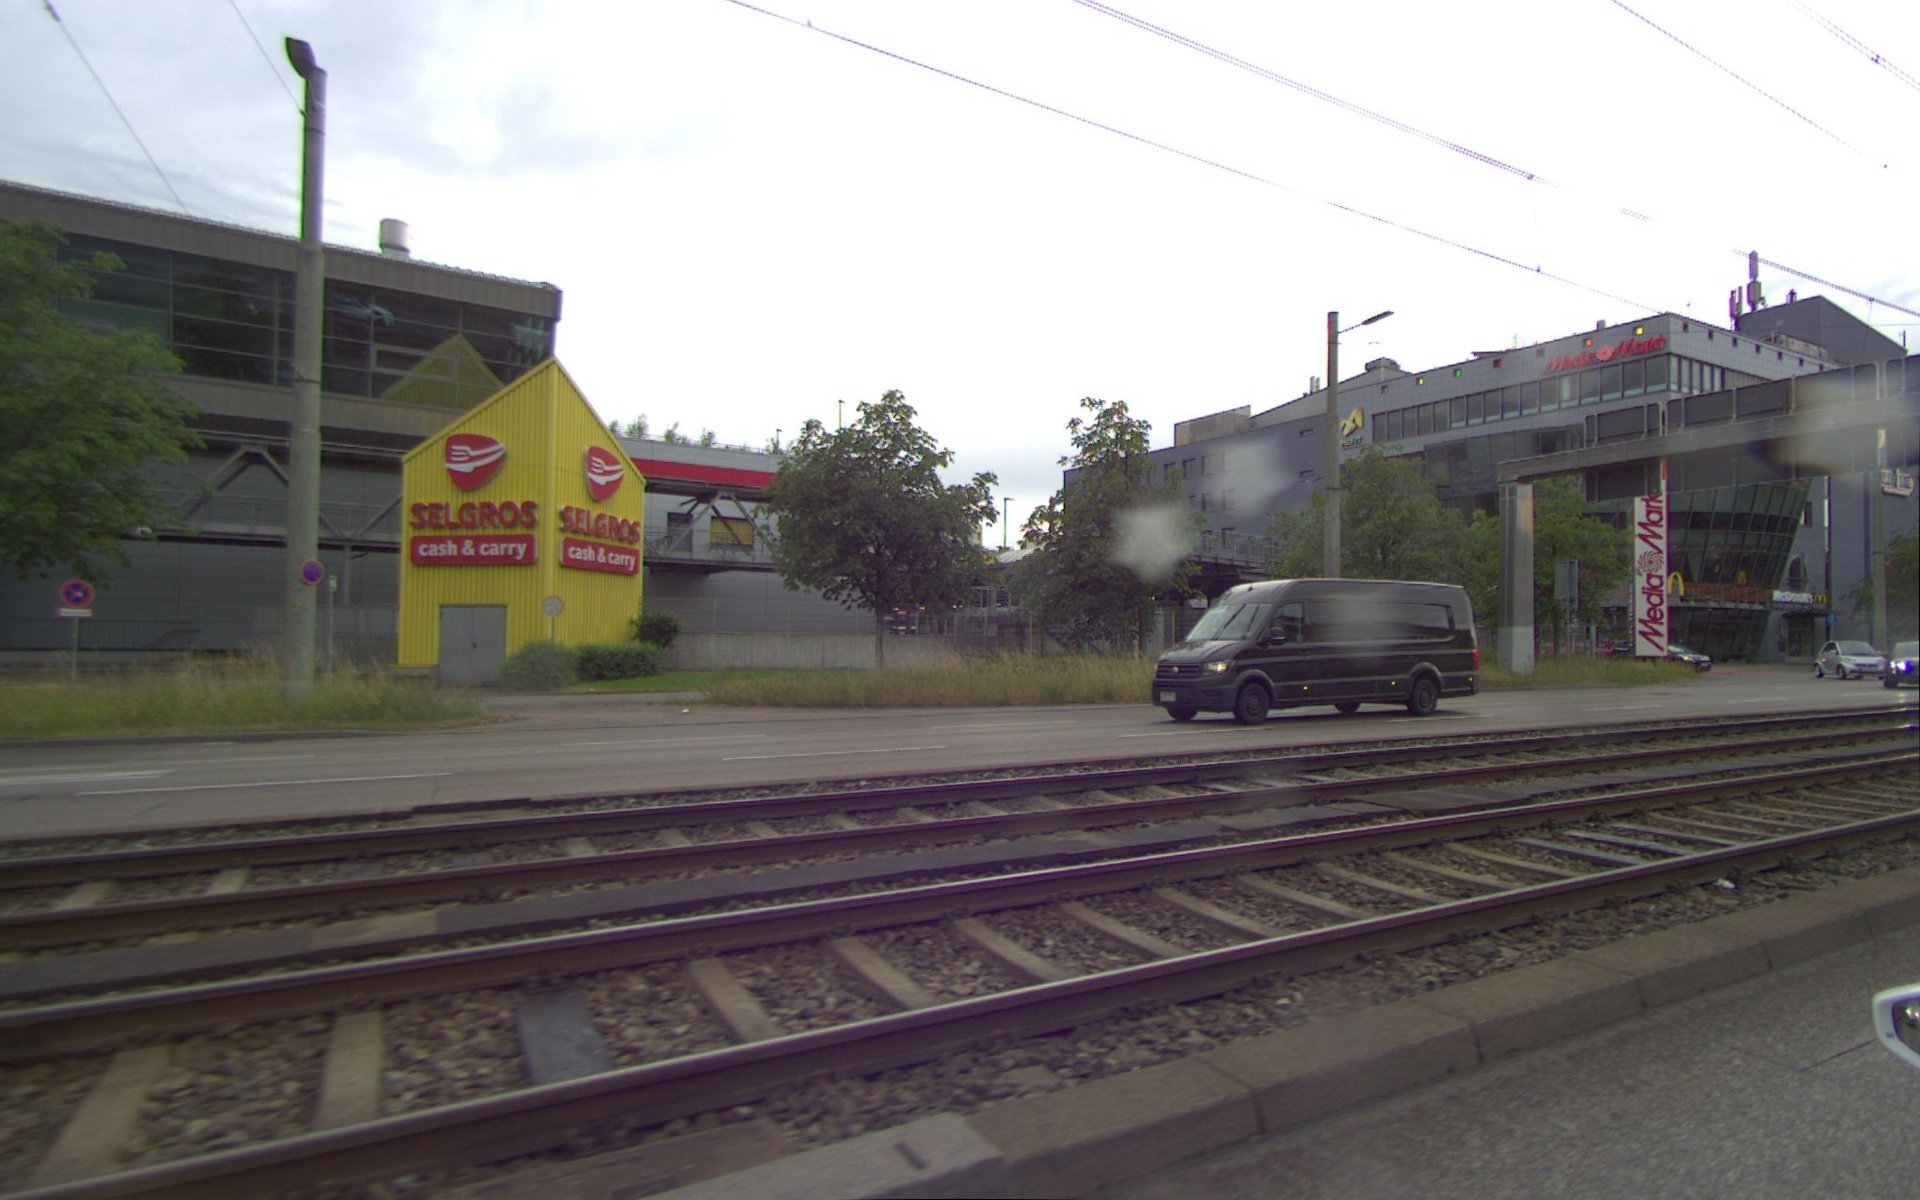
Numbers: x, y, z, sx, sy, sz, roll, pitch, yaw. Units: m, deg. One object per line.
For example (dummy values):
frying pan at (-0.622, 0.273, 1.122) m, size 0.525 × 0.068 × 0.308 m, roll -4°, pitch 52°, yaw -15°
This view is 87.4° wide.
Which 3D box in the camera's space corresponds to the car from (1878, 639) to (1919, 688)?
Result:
car at (29.898, 1.927, 30.887) m, size 4.199 × 1.447 × 1.789 m, roll 2°, pitch -3°, yaw -39°

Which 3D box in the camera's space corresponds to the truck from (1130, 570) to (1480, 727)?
truck at (6.712, 0.935, 19.204) m, size 6.928 × 2.598 × 2.230 m, roll 1°, pitch -4°, yaw -29°

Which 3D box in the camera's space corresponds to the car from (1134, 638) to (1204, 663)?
car at (12.513, 3.028, 60.389) m, size 4.025 × 1.299 × 1.664 m, roll 2°, pitch 0°, yaw 9°

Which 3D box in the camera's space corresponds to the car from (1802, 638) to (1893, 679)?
car at (36.456, 2.388, 41.342) m, size 1.571 × 1.557 × 2.953 m, roll -3°, pitch -3°, yaw 15°

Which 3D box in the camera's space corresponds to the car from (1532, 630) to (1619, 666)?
car at (36.520, 2.815, 59.658) m, size 1.980 × 2.040 × 3.962 m, roll 1°, pitch -2°, yaw -34°
